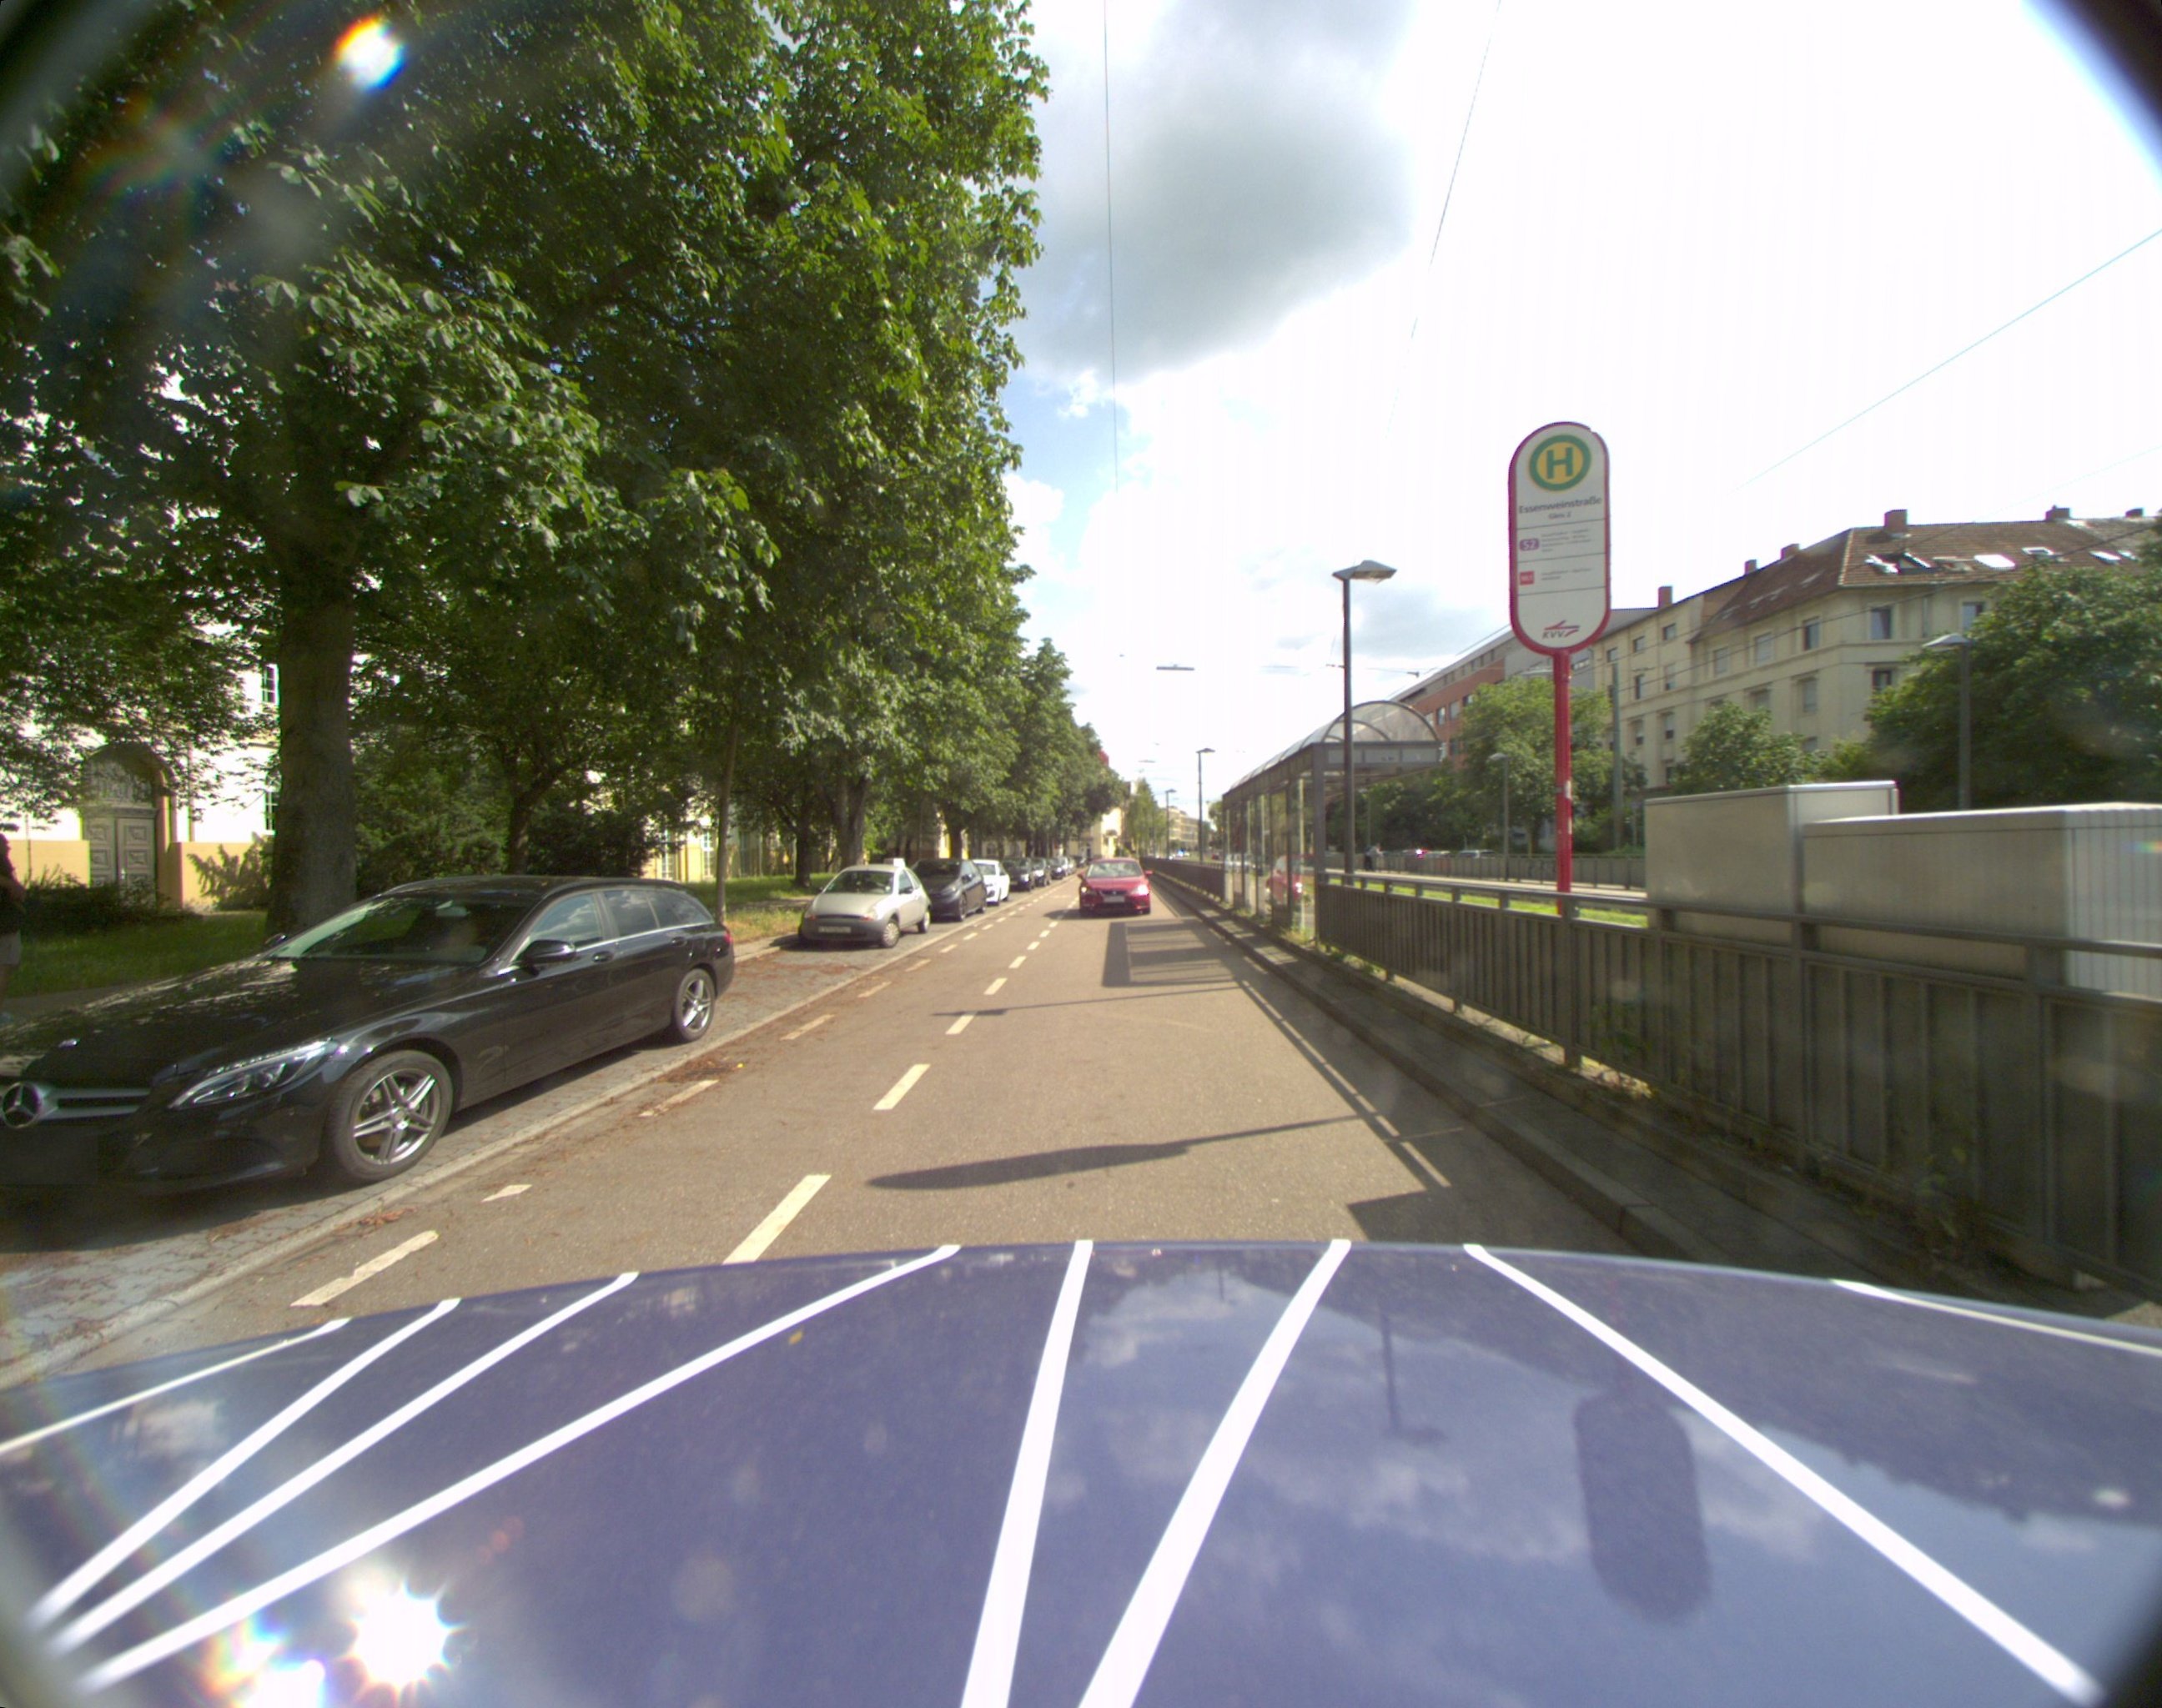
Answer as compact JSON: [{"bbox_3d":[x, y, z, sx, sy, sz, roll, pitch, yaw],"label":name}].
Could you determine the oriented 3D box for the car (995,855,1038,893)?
[{"bbox_3d":[-2.834,0.849,34.124,1.559,1.453,3.558,2,1,0],"label":"car"}]

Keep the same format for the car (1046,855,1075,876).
[{"bbox_3d":[-1.482,0.823,56.827,1.639,1.423,4.016,2,0,5],"label":"car"}]

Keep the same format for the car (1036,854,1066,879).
[{"bbox_3d":[-1.947,0.800,50.898,1.836,1.458,4.829,1,1,-1],"label":"car"}]

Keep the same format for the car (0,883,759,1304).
[{"bbox_3d":[-4.347,1.039,5.408,1.922,1.433,4.797,1,0,2],"label":"car"}]

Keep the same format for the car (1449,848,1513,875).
[{"bbox_3d":[24.795,0.452,47.066,4.161,1.556,1.921,-1,1,-38],"label":"car"}]

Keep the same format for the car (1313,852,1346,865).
[{"bbox_3d":[26.285,0.436,80.309,3.258,1.296,1.600,-1,0,-32],"label":"car"}]

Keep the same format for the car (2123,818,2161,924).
[{"bbox_3d":[22.929,0.294,15.129,3.957,2.058,2.045,-1,0,-28],"label":"car"}]

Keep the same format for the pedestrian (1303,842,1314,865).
[{"bbox_3d":[16.397,-0.030,54.792,0.608,1.665,0.625,-1,1,3],"label":"pedestrian"}]

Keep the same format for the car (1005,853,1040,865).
[{"bbox_3d":[-8.588,0.713,111.400,4.827,1.646,1.858,-1,2,13],"label":"car"}]

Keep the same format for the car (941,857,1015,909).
[{"bbox_3d":[-3.350,0.887,25.399,1.840,1.515,4.253,1,0,0],"label":"car"}]

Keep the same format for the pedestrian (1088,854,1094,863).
[{"bbox_3d":[1.522,0.664,112.897,0.804,1.238,0.892,-1,2,5],"label":"pedestrian"}]

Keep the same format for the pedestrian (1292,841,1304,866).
[{"bbox_3d":[15.689,-0.045,54.945,0.607,1.744,0.626,0,2,43],"label":"pedestrian"}]

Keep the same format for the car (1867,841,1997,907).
[{"bbox_3d":[23.370,0.503,20.830,4.007,1.630,1.823,-1,-1,-34],"label":"car"}]

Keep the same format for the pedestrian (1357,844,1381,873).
[{"bbox_3d":[15.662,0.230,41.274,0.991,1.569,0.798,-1,1,0],"label":"pedestrian"}]

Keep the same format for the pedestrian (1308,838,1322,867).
[{"bbox_3d":[15.466,-0.083,50.220,0.752,1.881,0.639,-1,3,5],"label":"pedestrian"}]

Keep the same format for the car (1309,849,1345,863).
[{"bbox_3d":[27.147,0.221,83.870,4.007,1.487,1.647,-1,0,-34],"label":"car"}]

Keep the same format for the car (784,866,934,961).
[{"bbox_3d":[-3.976,0.996,14.200,1.594,1.437,3.598,1,1,3],"label":"car"}]

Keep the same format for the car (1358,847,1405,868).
[{"bbox_3d":[25.848,0.297,65.317,4.006,1.520,1.669,-3,0,-34],"label":"car"}]

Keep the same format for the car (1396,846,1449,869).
[{"bbox_3d":[25.519,0.245,56.714,4.144,1.630,1.829,-1,1,-37],"label":"car"}]

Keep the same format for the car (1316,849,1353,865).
[{"bbox_3d":[25.783,0.318,77.252,3.316,1.412,1.581,-3,1,-27],"label":"car"}]

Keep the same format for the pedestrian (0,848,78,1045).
[{"bbox_3d":[-9.596,0.794,6.583,0.746,1.686,0.767,-1,1,3],"label":"pedestrian"}]

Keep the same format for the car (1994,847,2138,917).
[{"bbox_3d":[23.520,0.603,18.125,4.006,1.477,1.606,-1,0,-30],"label":"car"}]

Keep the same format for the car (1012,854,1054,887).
[{"bbox_3d":[-2.428,0.816,39.307,1.694,1.552,4.308,2,0,3],"label":"car"}]

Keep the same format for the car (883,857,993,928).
[{"bbox_3d":[-3.571,0.897,19.802,1.729,1.574,4.678,0,0,3],"label":"car"}]

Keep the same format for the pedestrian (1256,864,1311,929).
[{"bbox_3d":[3.461,0.709,12.954,0.662,1.066,0.725,-1,0,37],"label":"pedestrian"}]

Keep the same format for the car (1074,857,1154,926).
[{"bbox_3d":[0.851,0.872,19.520,1.790,1.499,4.000,-2,0,3],"label":"car"}]

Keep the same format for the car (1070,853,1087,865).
[{"bbox_3d":[-0.275,0.563,89.266,1.689,1.379,3.924,0,1,3],"label":"car"}]
